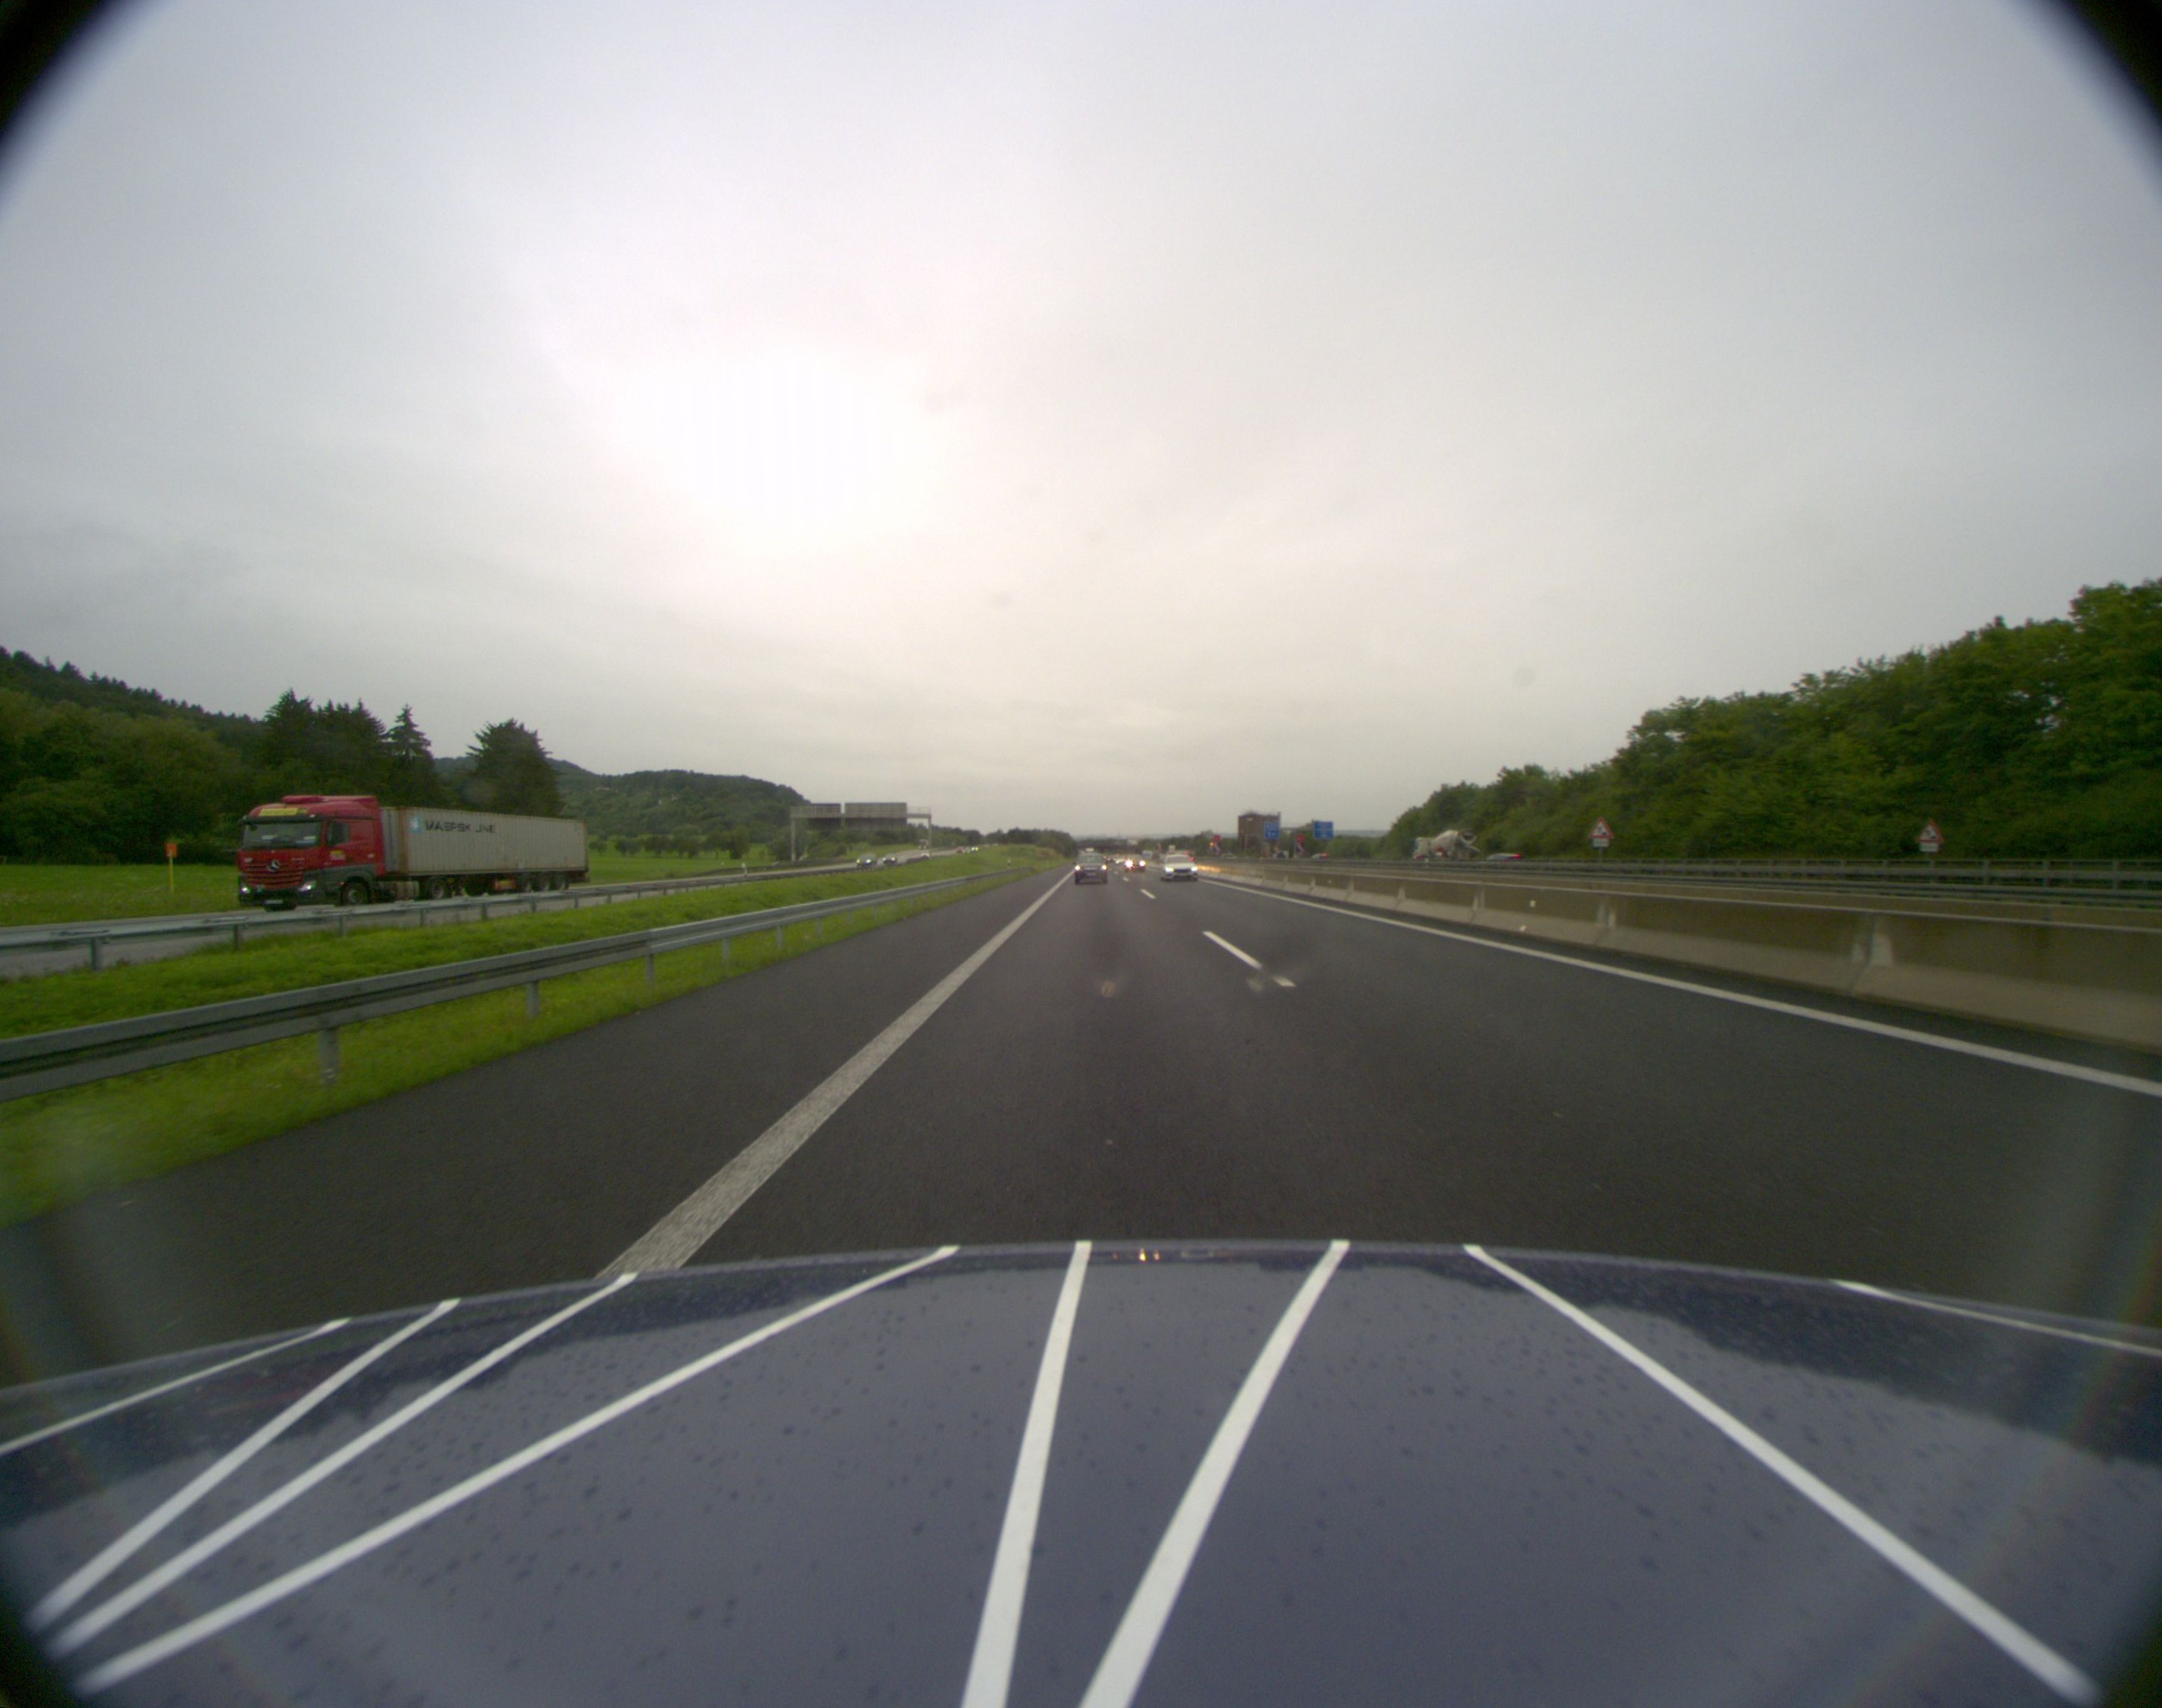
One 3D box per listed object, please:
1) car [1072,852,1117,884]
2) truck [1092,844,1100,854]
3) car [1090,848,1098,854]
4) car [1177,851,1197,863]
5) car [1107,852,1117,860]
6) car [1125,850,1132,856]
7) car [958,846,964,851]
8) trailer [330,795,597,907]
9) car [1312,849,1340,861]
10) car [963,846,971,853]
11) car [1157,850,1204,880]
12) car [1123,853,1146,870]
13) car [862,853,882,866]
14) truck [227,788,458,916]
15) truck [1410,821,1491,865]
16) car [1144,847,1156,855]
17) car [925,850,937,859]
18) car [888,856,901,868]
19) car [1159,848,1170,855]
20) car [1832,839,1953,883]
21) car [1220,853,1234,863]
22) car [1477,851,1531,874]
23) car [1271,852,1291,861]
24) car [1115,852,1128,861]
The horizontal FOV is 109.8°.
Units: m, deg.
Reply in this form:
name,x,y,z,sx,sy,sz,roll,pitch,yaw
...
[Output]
name,x,y,z,sx,sy,sz,roll,pitch,yaw
car,0.803,0.738,41.766,2.242,1.565,4.817,-2,0,2
truck,4.994,-1.700,253.926,2.728,3.098,7.960,-3,0,1
car,3.264,-0.628,186.845,1.941,1.341,4.000,-3,0,1
car,14.981,0.440,107.248,1.999,1.641,5.026,-2,0,0
car,6.507,0.345,158.585,1.998,1.565,4.000,-2,0,1
car,15.636,-0.262,250.871,1.999,1.825,4.679,-2,0,0
car,-38.832,-1.712,246.431,1.584,1.543,3.998,-2,1,-3
trailer,-26.399,-0.134,33.853,2.498,3.961,12.399,-2,1,-5
car,29.807,0.148,92.650,1.998,1.398,4.676,-1,0,1
car,-34.856,-1.264,232.970,1.734,2.002,3.999,-2,1,0
car,5.519,0.586,42.815,1.999,1.582,4.816,-2,0,0
car,4.728,0.632,67.258,1.835,1.417,4.368,-2,0,2
car,-28.619,0.758,104.045,2.000,1.710,4.315,-1,0,-8
truck,-25.834,-0.079,27.066,2.515,3.964,5.925,-2,1,-5
truck,33.335,-0.959,69.106,2.692,3.640,9.557,-1,0,0
car,15.786,-0.635,173.886,2.363,1.683,5.907,-1,0,2
car,-35.062,0.100,177.693,1.999,2.002,3.998,-1,0,-4
car,-30.553,1.302,124.597,1.654,2.002,3.996,-1,0,-9
car,19.547,-0.520,177.329,1.998,1.427,4.679,-2,0,1
car,39.582,0.323,37.222,1.754,2.002,4.000,-1,0,2
car,30.771,0.743,160.071,1.999,2.002,4.714,-2,1,0
car,28.665,0.532,51.619,1.593,1.417,3.918,-2,1,2
car,31.068,0.376,118.313,1.998,1.398,4.676,-1,0,1
car,6.369,0.434,119.747,1.941,1.341,4.000,-2,0,2
